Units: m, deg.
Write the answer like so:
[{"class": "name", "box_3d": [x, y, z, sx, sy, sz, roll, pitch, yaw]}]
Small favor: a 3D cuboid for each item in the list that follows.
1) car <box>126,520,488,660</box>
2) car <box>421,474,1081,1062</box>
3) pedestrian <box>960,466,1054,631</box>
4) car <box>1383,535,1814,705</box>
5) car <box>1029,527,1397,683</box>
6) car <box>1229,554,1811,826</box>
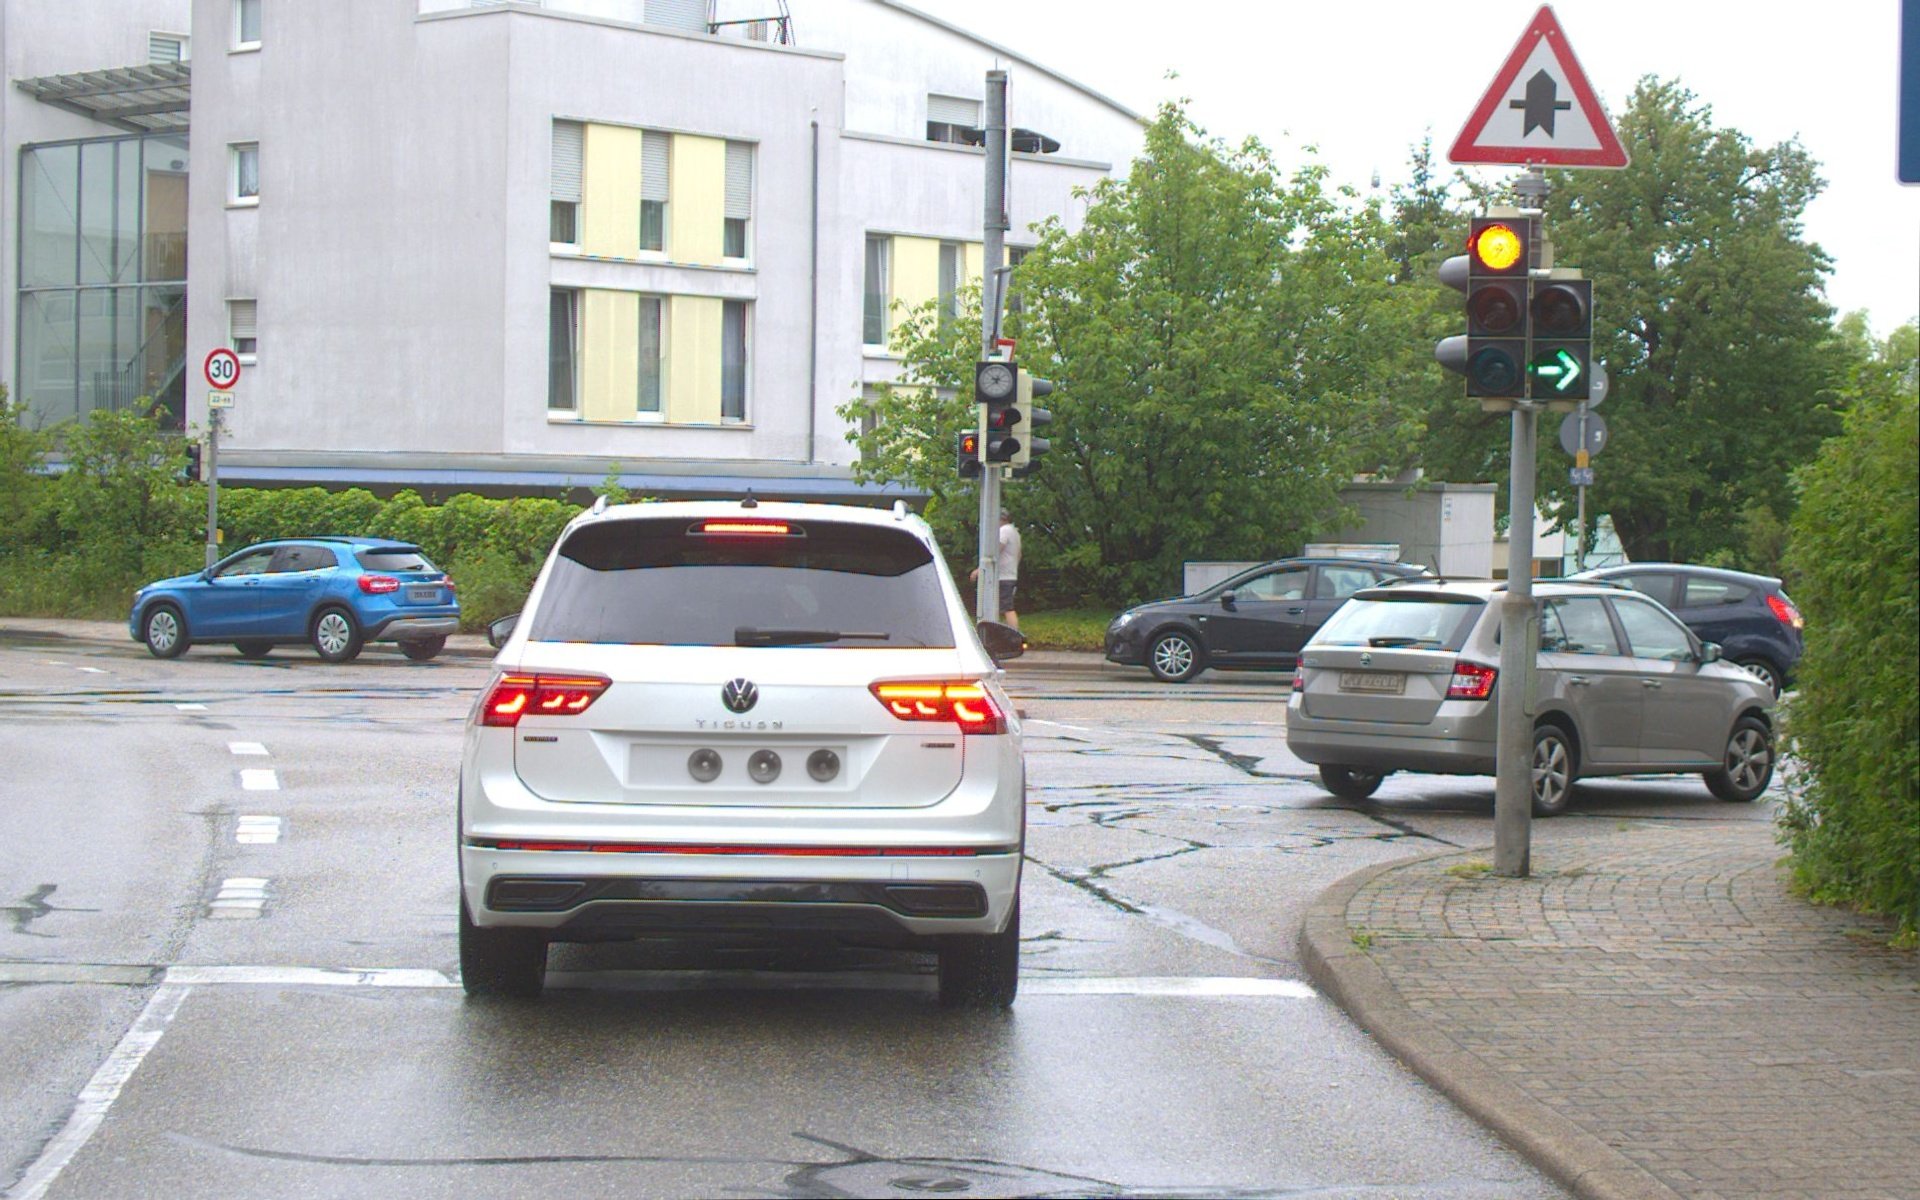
[{"class": "car", "box_3d": [-8.002, -0.160, 42.129, 3.993, 1.550, 1.997, 2, 3, 28]}, {"class": "car", "box_3d": [-0.822, 0.479, 12.361, 1.920, 1.716, 4.266, 1, 1, -6]}, {"class": "pedestrian", "box_3d": [0.592, -0.649, 42.824, 0.800, 2.006, 0.848, 3, 3, 31]}, {"class": "car", "box_3d": [6.346, 0.180, 34.533, 3.987, 1.495, 1.926, 2, 1, 4]}, {"class": "car", "box_3d": [2.880, 0.026, 38.668, 3.988, 1.546, 2.000, 1, 4, 8]}, {"class": "car", "box_3d": [3.775, 0.518, 22.756, 1.770, 1.504, 3.990, 7, 5, 43]}]
